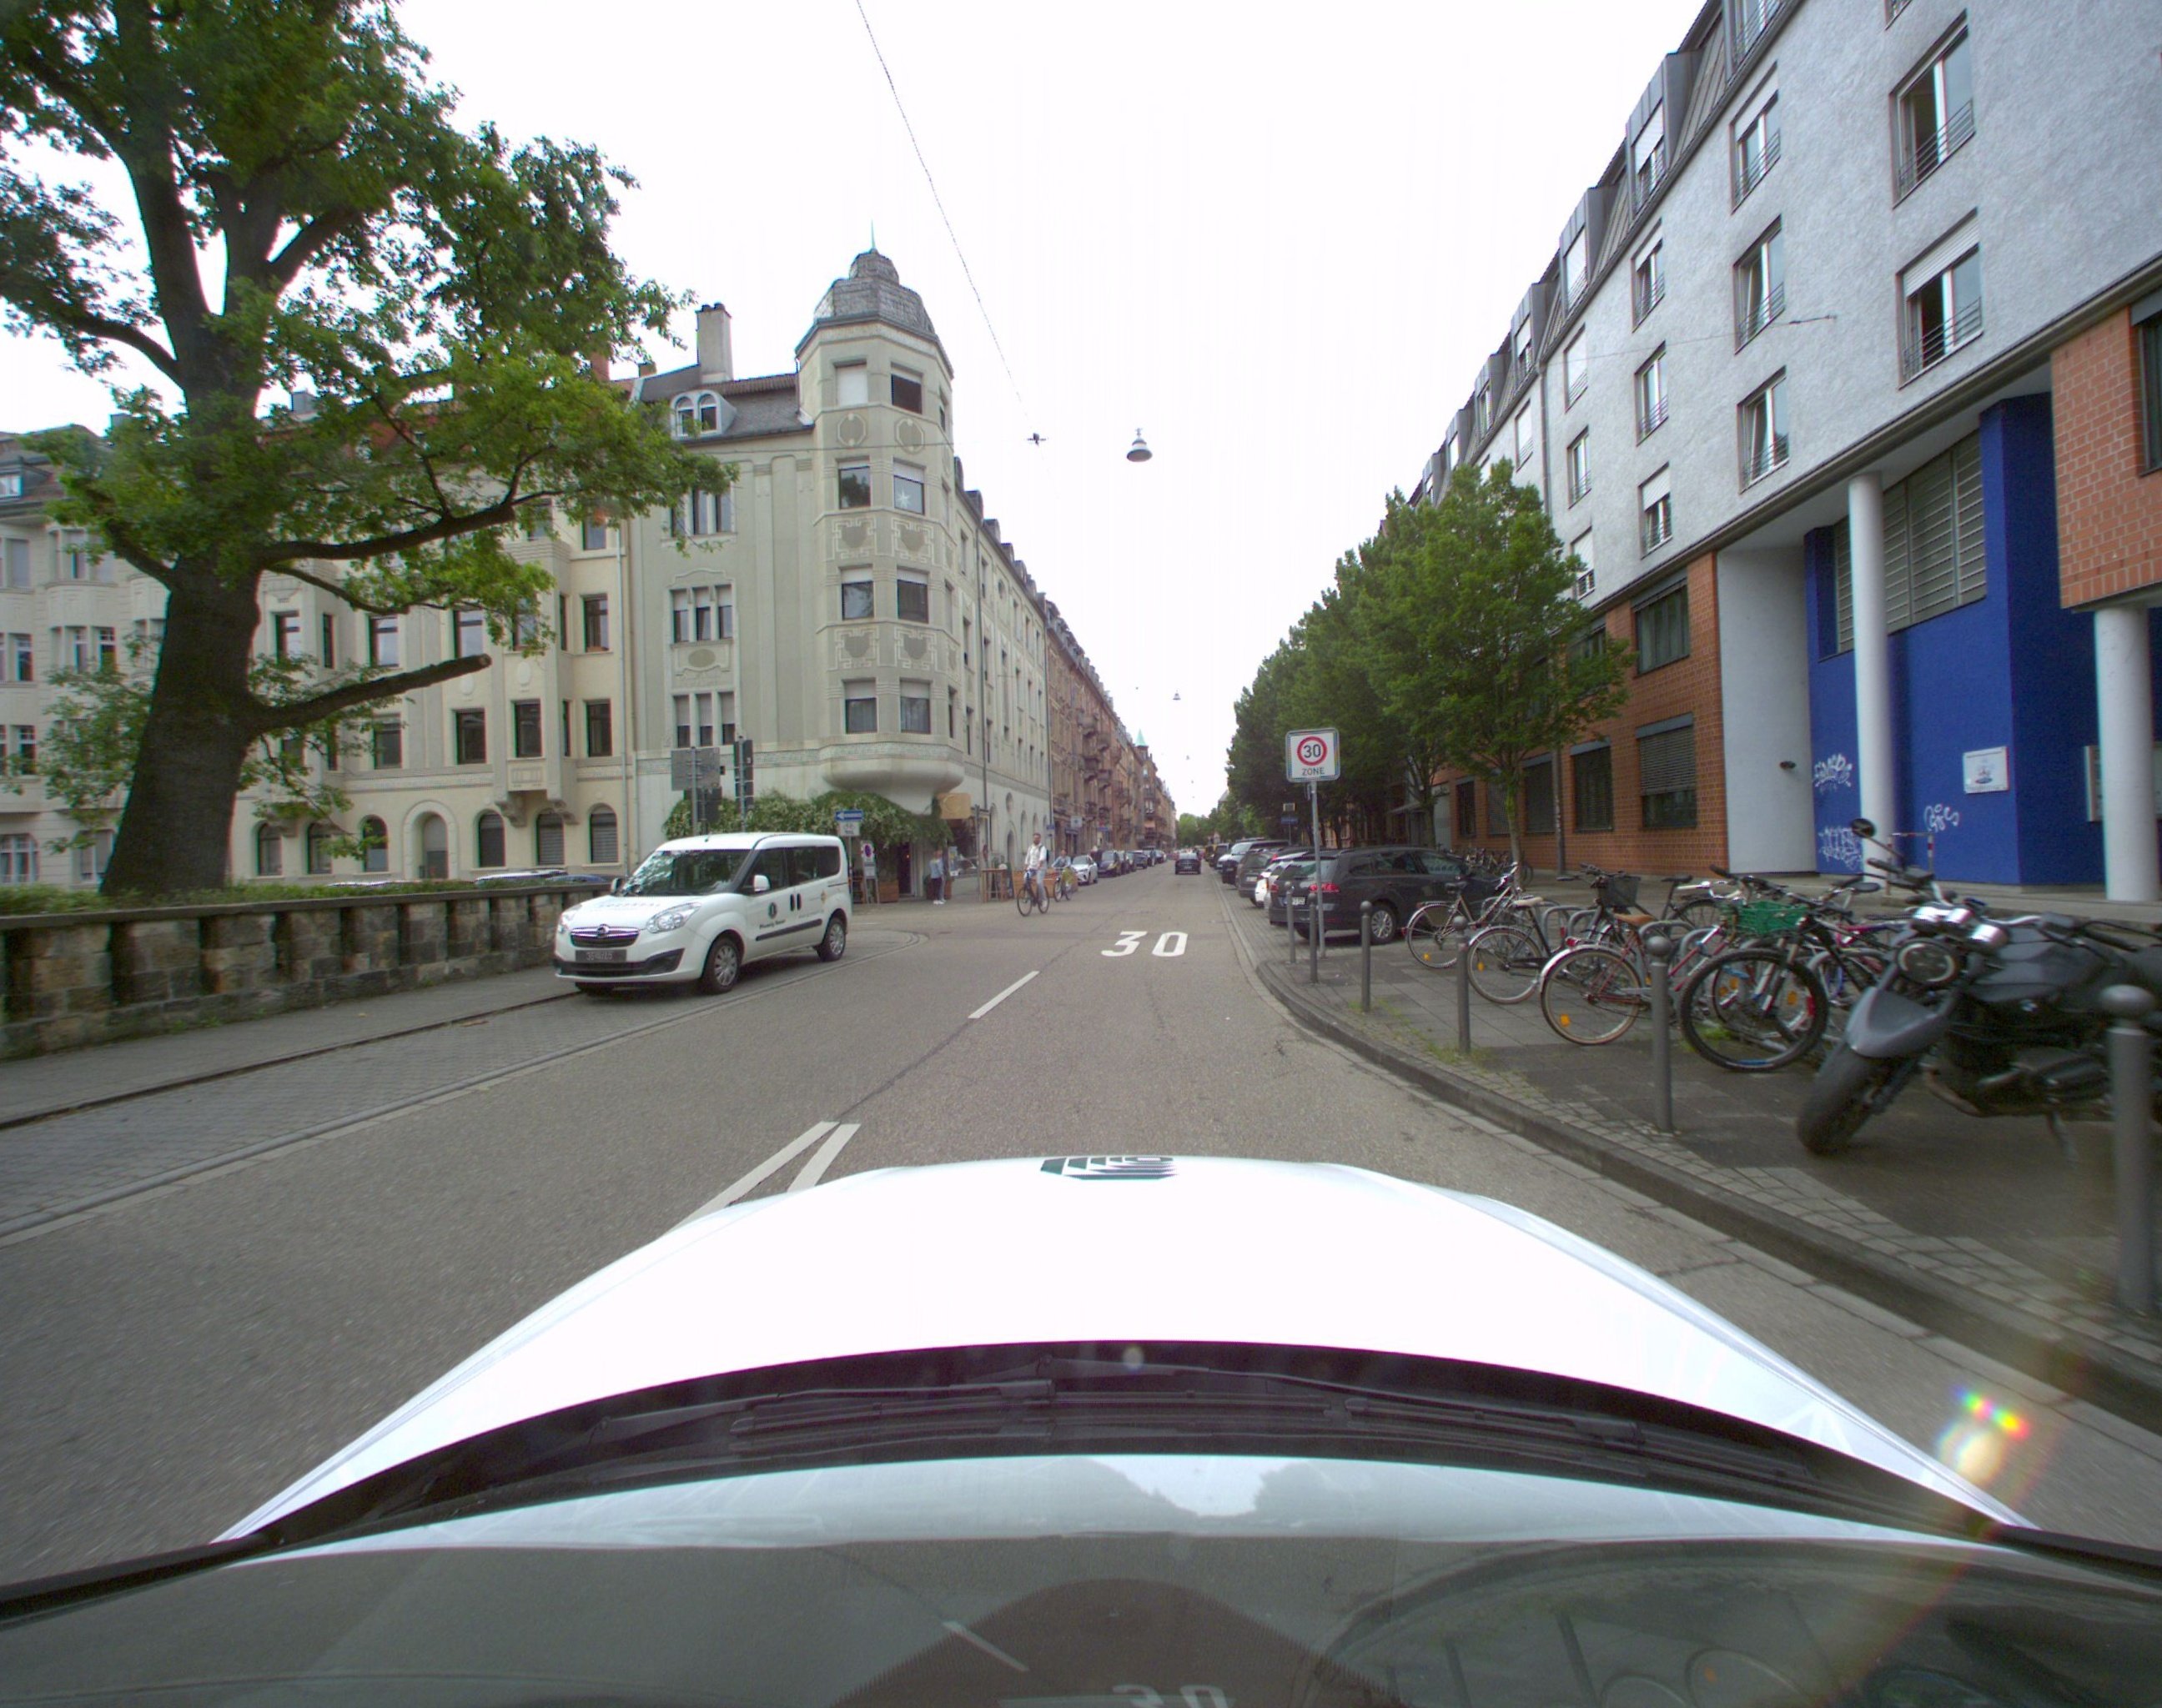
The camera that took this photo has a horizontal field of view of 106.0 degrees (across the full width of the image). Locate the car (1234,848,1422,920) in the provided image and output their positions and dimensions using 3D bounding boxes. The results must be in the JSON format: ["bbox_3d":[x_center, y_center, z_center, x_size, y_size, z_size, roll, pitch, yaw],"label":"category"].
[{"bbox_3d":[5.802,0.632,19.127,3.990,1.543,1.861,0,0,-23],"label":"car"}]

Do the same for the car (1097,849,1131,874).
[{"bbox_3d":[2.318,0.506,56.156,1.933,1.617,3.952,-1,0,8],"label":"car"}]

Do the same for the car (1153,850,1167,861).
[{"bbox_3d":[12.049,0.213,124.196,1.984,1.499,4.005,-2,-1,5],"label":"car"}]

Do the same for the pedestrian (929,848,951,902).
[{"bbox_3d":[-4.648,0.690,26.828,0.581,1.734,0.501,-1,-2,-28],"label":"pedestrian"}]

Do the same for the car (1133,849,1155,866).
[{"bbox_3d":[6.527,0.342,83.997,1.933,1.742,3.952,-1,0,8],"label":"car"}]

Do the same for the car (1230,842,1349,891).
[{"bbox_3d":[7.762,0.462,30.316,4.068,1.585,1.756,-3,-1,-26],"label":"car"}]

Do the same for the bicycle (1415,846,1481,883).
[{"bbox_3d":[11.369,0.329,25.283,1.743,1.092,0.566,-2,-1,7],"label":"bicycle"}]

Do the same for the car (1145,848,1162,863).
[{"bbox_3d":[9.055,0.191,101.463,1.933,1.738,3.952,-2,0,8],"label":"car"}]

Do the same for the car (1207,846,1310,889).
[{"bbox_3d":[7.205,0.540,32.988,3.877,1.505,1.753,-3,-1,-32],"label":"car"}]

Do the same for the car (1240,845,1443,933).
[{"bbox_3d":[5.167,0.622,16.121,3.575,1.499,1.829,-2,0,-28],"label":"car"}]

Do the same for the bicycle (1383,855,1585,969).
[{"bbox_3d":[4.453,0.637,9.102,1.875,1.141,0.613,-3,-2,5],"label":"bicycle"}]

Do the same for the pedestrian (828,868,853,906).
[{"bbox_3d":[-7.782,1.065,26.364,0.575,1.197,0.556,-2,0,8],"label":"pedestrian"}]

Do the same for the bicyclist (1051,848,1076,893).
[{"bbox_3d":[-0.552,0.523,25.936,0.665,1.399,0.784,-2,-1,5],"label":"bicyclist"}]

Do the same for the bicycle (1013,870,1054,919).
[{"bbox_3d":[-1.152,0.978,20.165,0.564,1.087,1.992,-2,0,10],"label":"bicycle"}]

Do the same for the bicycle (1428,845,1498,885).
[{"bbox_3d":[11.192,0.321,23.902,1.743,1.092,0.566,-2,-1,7],"label":"bicycle"}]

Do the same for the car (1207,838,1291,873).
[{"bbox_3d":[11.318,0.096,54.684,5.415,1.992,1.933,-3,-1,-26],"label":"car"}]

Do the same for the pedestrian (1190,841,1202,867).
[{"bbox_3d":[9.955,0.002,70.528,0.886,2.146,1.030,-2,-1,7],"label":"pedestrian"}]

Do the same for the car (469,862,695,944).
[{"bbox_3d":[-11.185,1.075,18.415,4.037,1.607,1.772,-3,-1,6],"label":"car"}]

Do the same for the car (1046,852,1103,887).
[{"bbox_3d":[-0.266,0.713,39.244,1.932,1.553,3.829,-3,-1,11],"label":"car"}]

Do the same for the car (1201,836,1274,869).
[{"bbox_3d":[12.671,-0.135,65.814,5.393,2.373,1.941,-3,-1,-13],"label":"car"}]

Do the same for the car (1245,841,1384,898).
[{"bbox_3d":[7.255,0.464,25.239,4.071,1.486,1.667,-3,-1,-28],"label":"car"}]

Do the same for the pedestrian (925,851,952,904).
[{"bbox_3d":[-4.577,0.744,26.122,0.573,1.660,0.579,-2,-2,29],"label":"pedestrian"}]

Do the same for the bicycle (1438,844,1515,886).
[{"bbox_3d":[10.906,0.313,22.500,1.826,1.092,0.544,-2,-1,7],"label":"bicycle"}]

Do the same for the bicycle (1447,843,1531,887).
[{"bbox_3d":[10.846,0.299,21.690,1.885,1.092,0.544,-2,-1,7],"label":"bicycle"}]

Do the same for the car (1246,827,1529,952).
[{"bbox_3d":[5.075,0.509,13.456,4.295,1.578,1.848,-4,0,-25],"label":"car"}]

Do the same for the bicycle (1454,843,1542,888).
[{"bbox_3d":[10.765,0.304,21.088,1.922,1.092,0.578,-2,-1,7],"label":"bicycle"}]

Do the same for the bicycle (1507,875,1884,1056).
[{"bbox_3d":[3.986,0.713,5.406,1.920,1.043,0.613,-3,-2,5],"label":"bicycle"}]

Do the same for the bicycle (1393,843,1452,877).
[{"bbox_3d":[11.776,0.204,28.115,1.743,1.092,0.566,-2,-1,7],"label":"bicycle"}]

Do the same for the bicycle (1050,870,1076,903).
[{"bbox_3d":[-0.556,1.003,25.816,0.532,0.977,1.869,-2,-1,7],"label":"bicycle"}]

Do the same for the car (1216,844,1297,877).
[{"bbox_3d":[9.300,0.359,43.181,3.871,1.505,1.756,-3,-1,-26],"label":"car"}]

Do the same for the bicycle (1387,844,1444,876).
[{"bbox_3d":[11.925,0.219,29.055,1.743,1.092,0.566,-2,-1,7],"label":"bicycle"}]

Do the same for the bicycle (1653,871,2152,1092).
[{"bbox_3d":[4.467,0.680,4.549,1.999,1.062,0.613,-3,-2,5],"label":"bicycle"}]

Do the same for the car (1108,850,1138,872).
[{"bbox_3d":[3.288,0.527,63.235,1.933,1.617,3.951,-1,0,7],"label":"car"}]

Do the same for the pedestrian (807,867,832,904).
[{"bbox_3d":[-8.614,1.037,26.861,0.575,1.197,0.556,-2,0,8],"label":"pedestrian"}]

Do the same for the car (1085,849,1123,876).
[{"bbox_3d":[1.474,0.521,50.734,1.933,1.617,3.952,-1,0,8],"label":"car"}]

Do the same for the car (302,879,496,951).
[{"bbox_3d":[-15.639,1.382,18.749,3.336,1.483,1.474,-2,-1,6],"label":"car"}]

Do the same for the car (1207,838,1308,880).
[{"bbox_3d":[10.154,0.266,46.785,5.637,2.127,1.933,-3,-1,-26],"label":"car"}]

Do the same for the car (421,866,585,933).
[{"bbox_3d":[-17.903,1.399,25.333,3.798,1.716,1.771,-3,2,6],"label":"car"}]

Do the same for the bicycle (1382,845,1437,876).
[{"bbox_3d":[11.984,0.246,29.769,1.743,1.092,0.566,-2,-1,7],"label":"bicycle"}]

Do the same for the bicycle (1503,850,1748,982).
[{"bbox_3d":[5.261,0.593,7.961,1.875,1.141,0.613,-3,-2,5],"label":"bicycle"}]

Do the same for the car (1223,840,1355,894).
[{"bbox_3d":[7.067,0.425,27.730,4.064,1.585,1.758,-3,-1,-23],"label":"car"}]

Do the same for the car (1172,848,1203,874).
[{"bbox_3d":[7.360,0.523,56.281,1.983,1.681,4.008,-2,-1,7],"label":"car"}]

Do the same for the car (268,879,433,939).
[{"bbox_3d":[-23.201,1.733,25.942,3.798,1.556,1.702,-3,2,6],"label":"car"}]

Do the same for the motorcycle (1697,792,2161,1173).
[{"bbox_3d":[4.091,0.488,3.522,2.124,1.429,0.772,-3,-2,5],"label":"motorcycle"}]

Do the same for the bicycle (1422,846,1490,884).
[{"bbox_3d":[11.338,0.331,24.675,1.743,1.092,0.566,-2,-1,7],"label":"bicycle"}]

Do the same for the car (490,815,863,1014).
[{"bbox_3d":[-4.664,0.592,10.352,1.832,1.939,4.561,-2,0,10],"label":"car"}]

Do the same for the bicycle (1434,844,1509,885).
[{"bbox_3d":[11.135,0.310,23.273,1.826,1.092,0.566,-2,-1,7],"label":"bicycle"}]

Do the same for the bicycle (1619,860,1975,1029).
[{"bbox_3d":[5.149,0.638,5.955,1.920,1.077,0.613,-3,-2,5],"label":"bicycle"}]

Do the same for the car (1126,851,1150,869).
[{"bbox_3d":[5.453,0.545,77.455,1.933,1.617,3.951,-1,0,7],"label":"car"}]

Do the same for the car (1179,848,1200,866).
[{"bbox_3d":[10.847,0.331,81.431,1.983,1.681,4.008,-2,-1,7],"label":"car"}]

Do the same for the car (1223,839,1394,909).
[{"bbox_3d":[6.070,0.504,21.759,4.065,1.585,1.888,-3,-1,-23],"label":"car"}]

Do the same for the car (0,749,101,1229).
[{"bbox_3d":[-5.855,0.608,1.270,2.002,2.014,5.194,-2,0,8],"label":"car"}]

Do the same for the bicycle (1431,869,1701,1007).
[{"bbox_3d":[4.123,0.706,7.034,1.875,1.043,0.613,-3,-2,5],"label":"bicycle"}]

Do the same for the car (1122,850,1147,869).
[{"bbox_3d":[4.758,0.479,72.155,1.933,1.617,3.951,-2,0,7],"label":"car"}]

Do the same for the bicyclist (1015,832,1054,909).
[{"bbox_3d":[-1.157,0.405,20.397,0.777,1.866,0.716,-2,0,10],"label":"bicyclist"}]

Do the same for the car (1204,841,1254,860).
[{"bbox_3d":[17.093,-0.408,94.178,5.408,1.868,1.936,-3,-1,-22],"label":"car"}]
